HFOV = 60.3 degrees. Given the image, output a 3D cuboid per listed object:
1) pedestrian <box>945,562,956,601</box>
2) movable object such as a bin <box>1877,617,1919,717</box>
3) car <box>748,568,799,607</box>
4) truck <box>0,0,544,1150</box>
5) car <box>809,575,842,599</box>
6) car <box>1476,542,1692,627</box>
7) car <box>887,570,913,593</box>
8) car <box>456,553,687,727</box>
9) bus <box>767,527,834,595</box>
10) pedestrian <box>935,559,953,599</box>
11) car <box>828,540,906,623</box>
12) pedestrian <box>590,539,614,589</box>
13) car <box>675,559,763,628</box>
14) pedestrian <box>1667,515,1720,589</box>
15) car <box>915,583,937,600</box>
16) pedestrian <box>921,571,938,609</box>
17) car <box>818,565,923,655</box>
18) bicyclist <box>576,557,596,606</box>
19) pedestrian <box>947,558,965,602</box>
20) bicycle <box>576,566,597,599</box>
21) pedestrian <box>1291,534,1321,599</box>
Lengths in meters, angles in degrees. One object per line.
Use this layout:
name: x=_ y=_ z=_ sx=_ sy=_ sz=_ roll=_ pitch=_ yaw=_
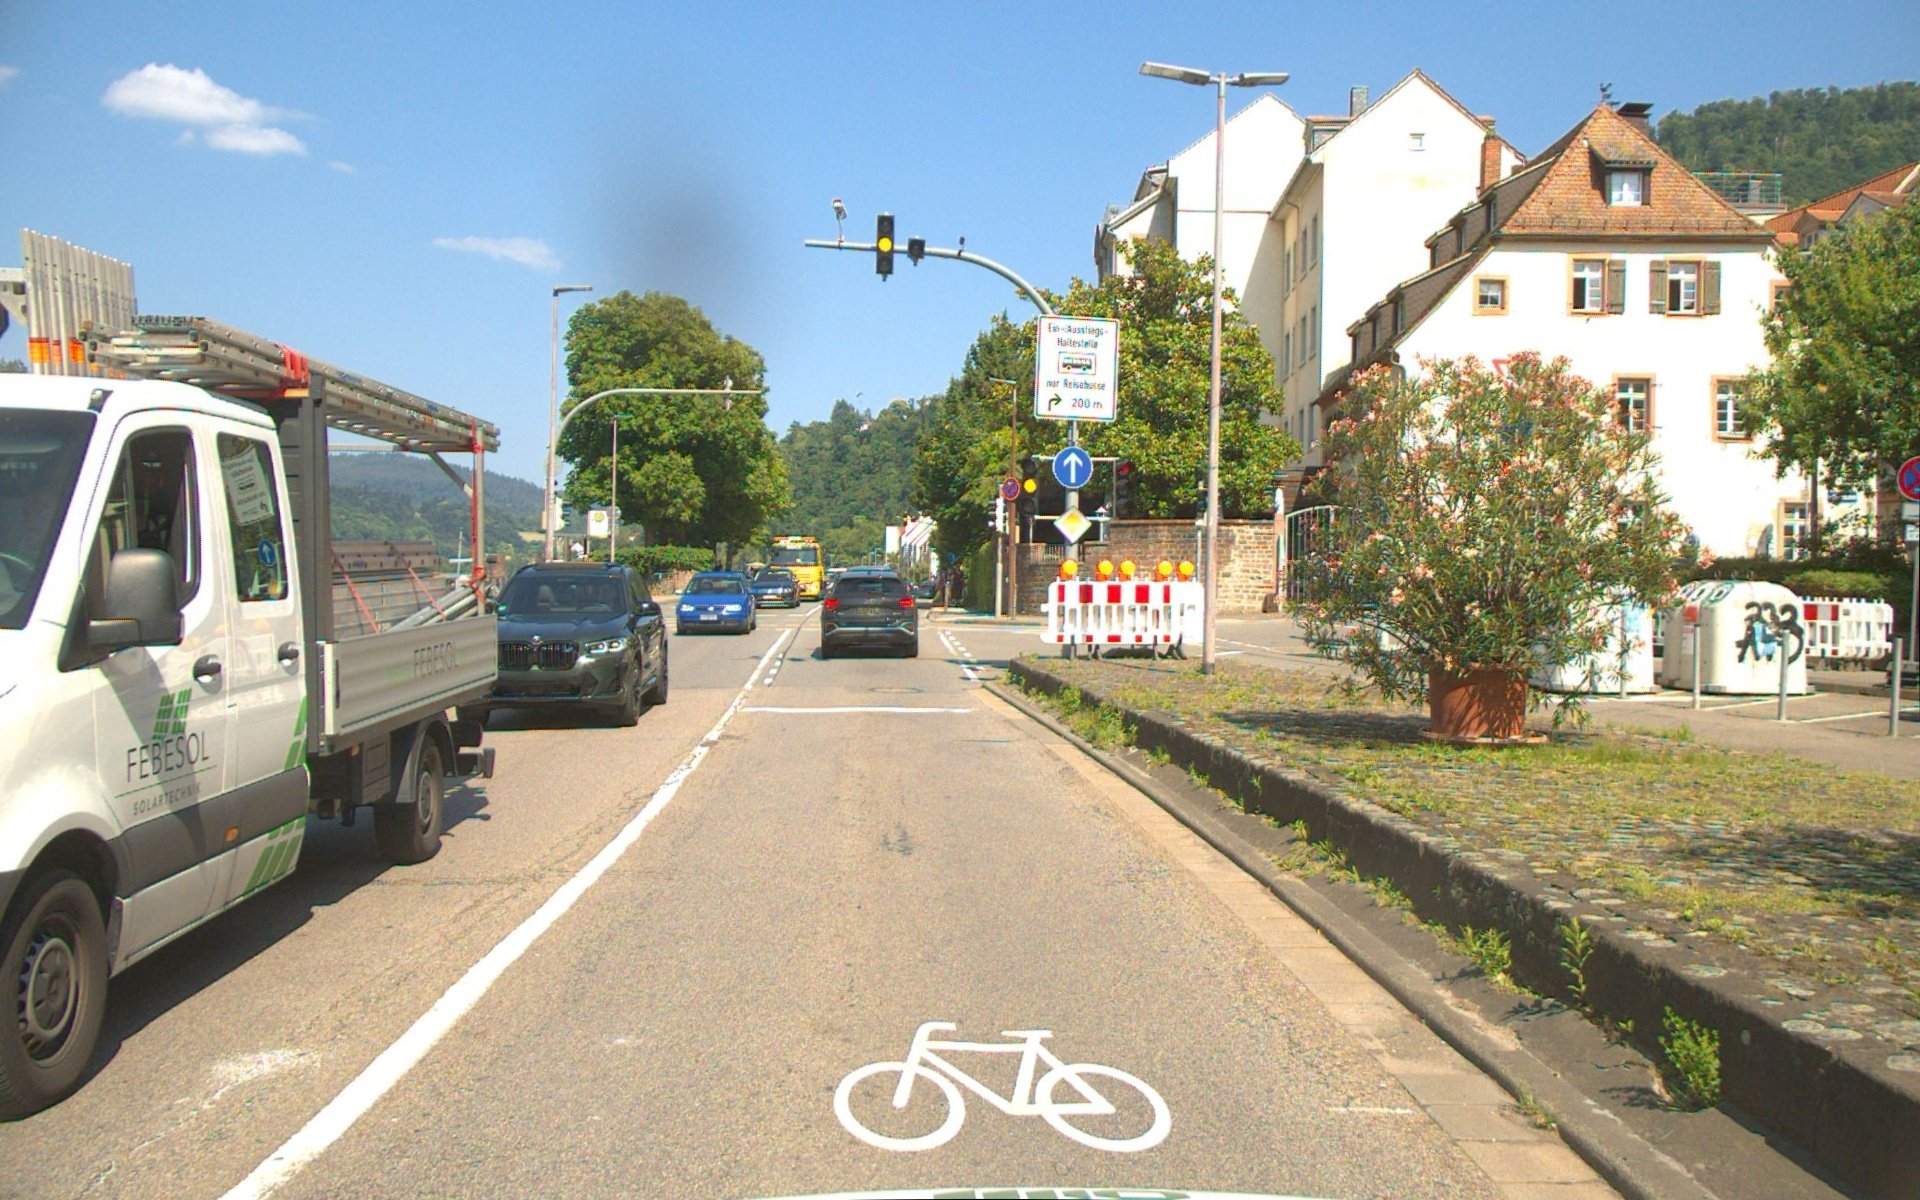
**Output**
pedestrian: x=-0.396 y=-0.769 z=68.705 sx=0.446 sy=1.634 sz=0.579 roll=1 pitch=0 yaw=-2
movable object such as a bin: x=12.225 y=0.777 z=19.782 sx=2.928 sy=1.130 sz=1.240 roll=0 pitch=1 yaw=-40
car: x=-7.078 y=-0.500 z=62.989 sx=1.773 sy=1.430 sz=4.353 roll=0 pitch=1 yaw=-4
truck: x=-3.845 y=-0.265 z=7.456 sx=2.329 sy=3.318 sz=7.606 roll=-2 pitch=1 yaw=-3
car: x=-8.124 y=-0.803 z=100.340 sx=1.779 sy=1.422 sz=4.345 roll=0 pitch=1 yaw=-2
car: x=13.268 y=-0.361 z=35.301 sx=3.909 sy=1.511 sz=1.860 roll=-2 pitch=4 yaw=-5
car: x=-4.144 y=-1.289 z=114.202 sx=1.759 sy=1.507 sz=3.998 roll=1 pitch=0 yaw=-2
car: x=-4.205 y=0.363 z=18.597 sx=1.826 sy=1.710 sz=4.451 roll=0 pitch=1 yaw=-4
bus: x=-7.344 y=-1.801 z=77.139 sx=2.544 sy=2.947 sz=8.445 roll=0 pitch=1 yaw=-2
pedestrian: x=-0.686 y=-0.899 z=70.799 sx=0.720 sy=1.662 sz=0.920 roll=0 pitch=1 yaw=-2
car: x=-2.462 y=-0.431 z=43.615 sx=1.954 sy=2.049 sz=3.996 roll=0 pitch=-1 yaw=-4
pedestrian: x=-14.285 y=-1.418 z=65.951 sx=0.738 sy=1.951 sz=1.009 roll=0 pitch=-1 yaw=-1
car: x=-5.749 y=-0.190 z=39.807 sx=1.773 sy=1.534 sz=3.997 roll=-2 pitch=1 yaw=-4
pedestrian: x=18.651 y=-1.226 z=42.064 sx=0.905 sy=1.824 sz=0.864 roll=-2 pitch=1 yaw=-1
car: x=-3.165 y=-0.799 z=153.665 sx=1.953 sy=1.478 sz=4.007 roll=0 pitch=-1 yaw=-1
pedestrian: x=-1.384 y=-0.469 z=75.552 sx=0.713 sy=1.678 sz=0.882 roll=-2 pitch=0 yaw=1
car: x=-1.644 y=0.135 z=30.773 sx=1.820 sy=1.550 sz=3.998 roll=0 pitch=1 yaw=-3
bicyclist: x=-12.810 y=-0.648 z=56.710 sx=0.655 sy=1.660 sz=0.977 roll=0 pitch=1 yaw=-12
pedestrian: x=-0.159 y=-0.821 z=67.246 sx=0.667 sy=1.773 sz=0.913 roll=1 pitch=0 yaw=-2
bicycle: x=-12.802 y=-0.603 z=56.722 sx=0.655 sy=1.132 sz=2.028 roll=0 pitch=1 yaw=-12
pedestrian: x=9.303 y=-0.892 z=44.448 sx=0.708 sy=1.735 sz=0.708 roll=0 pitch=0 yaw=19
